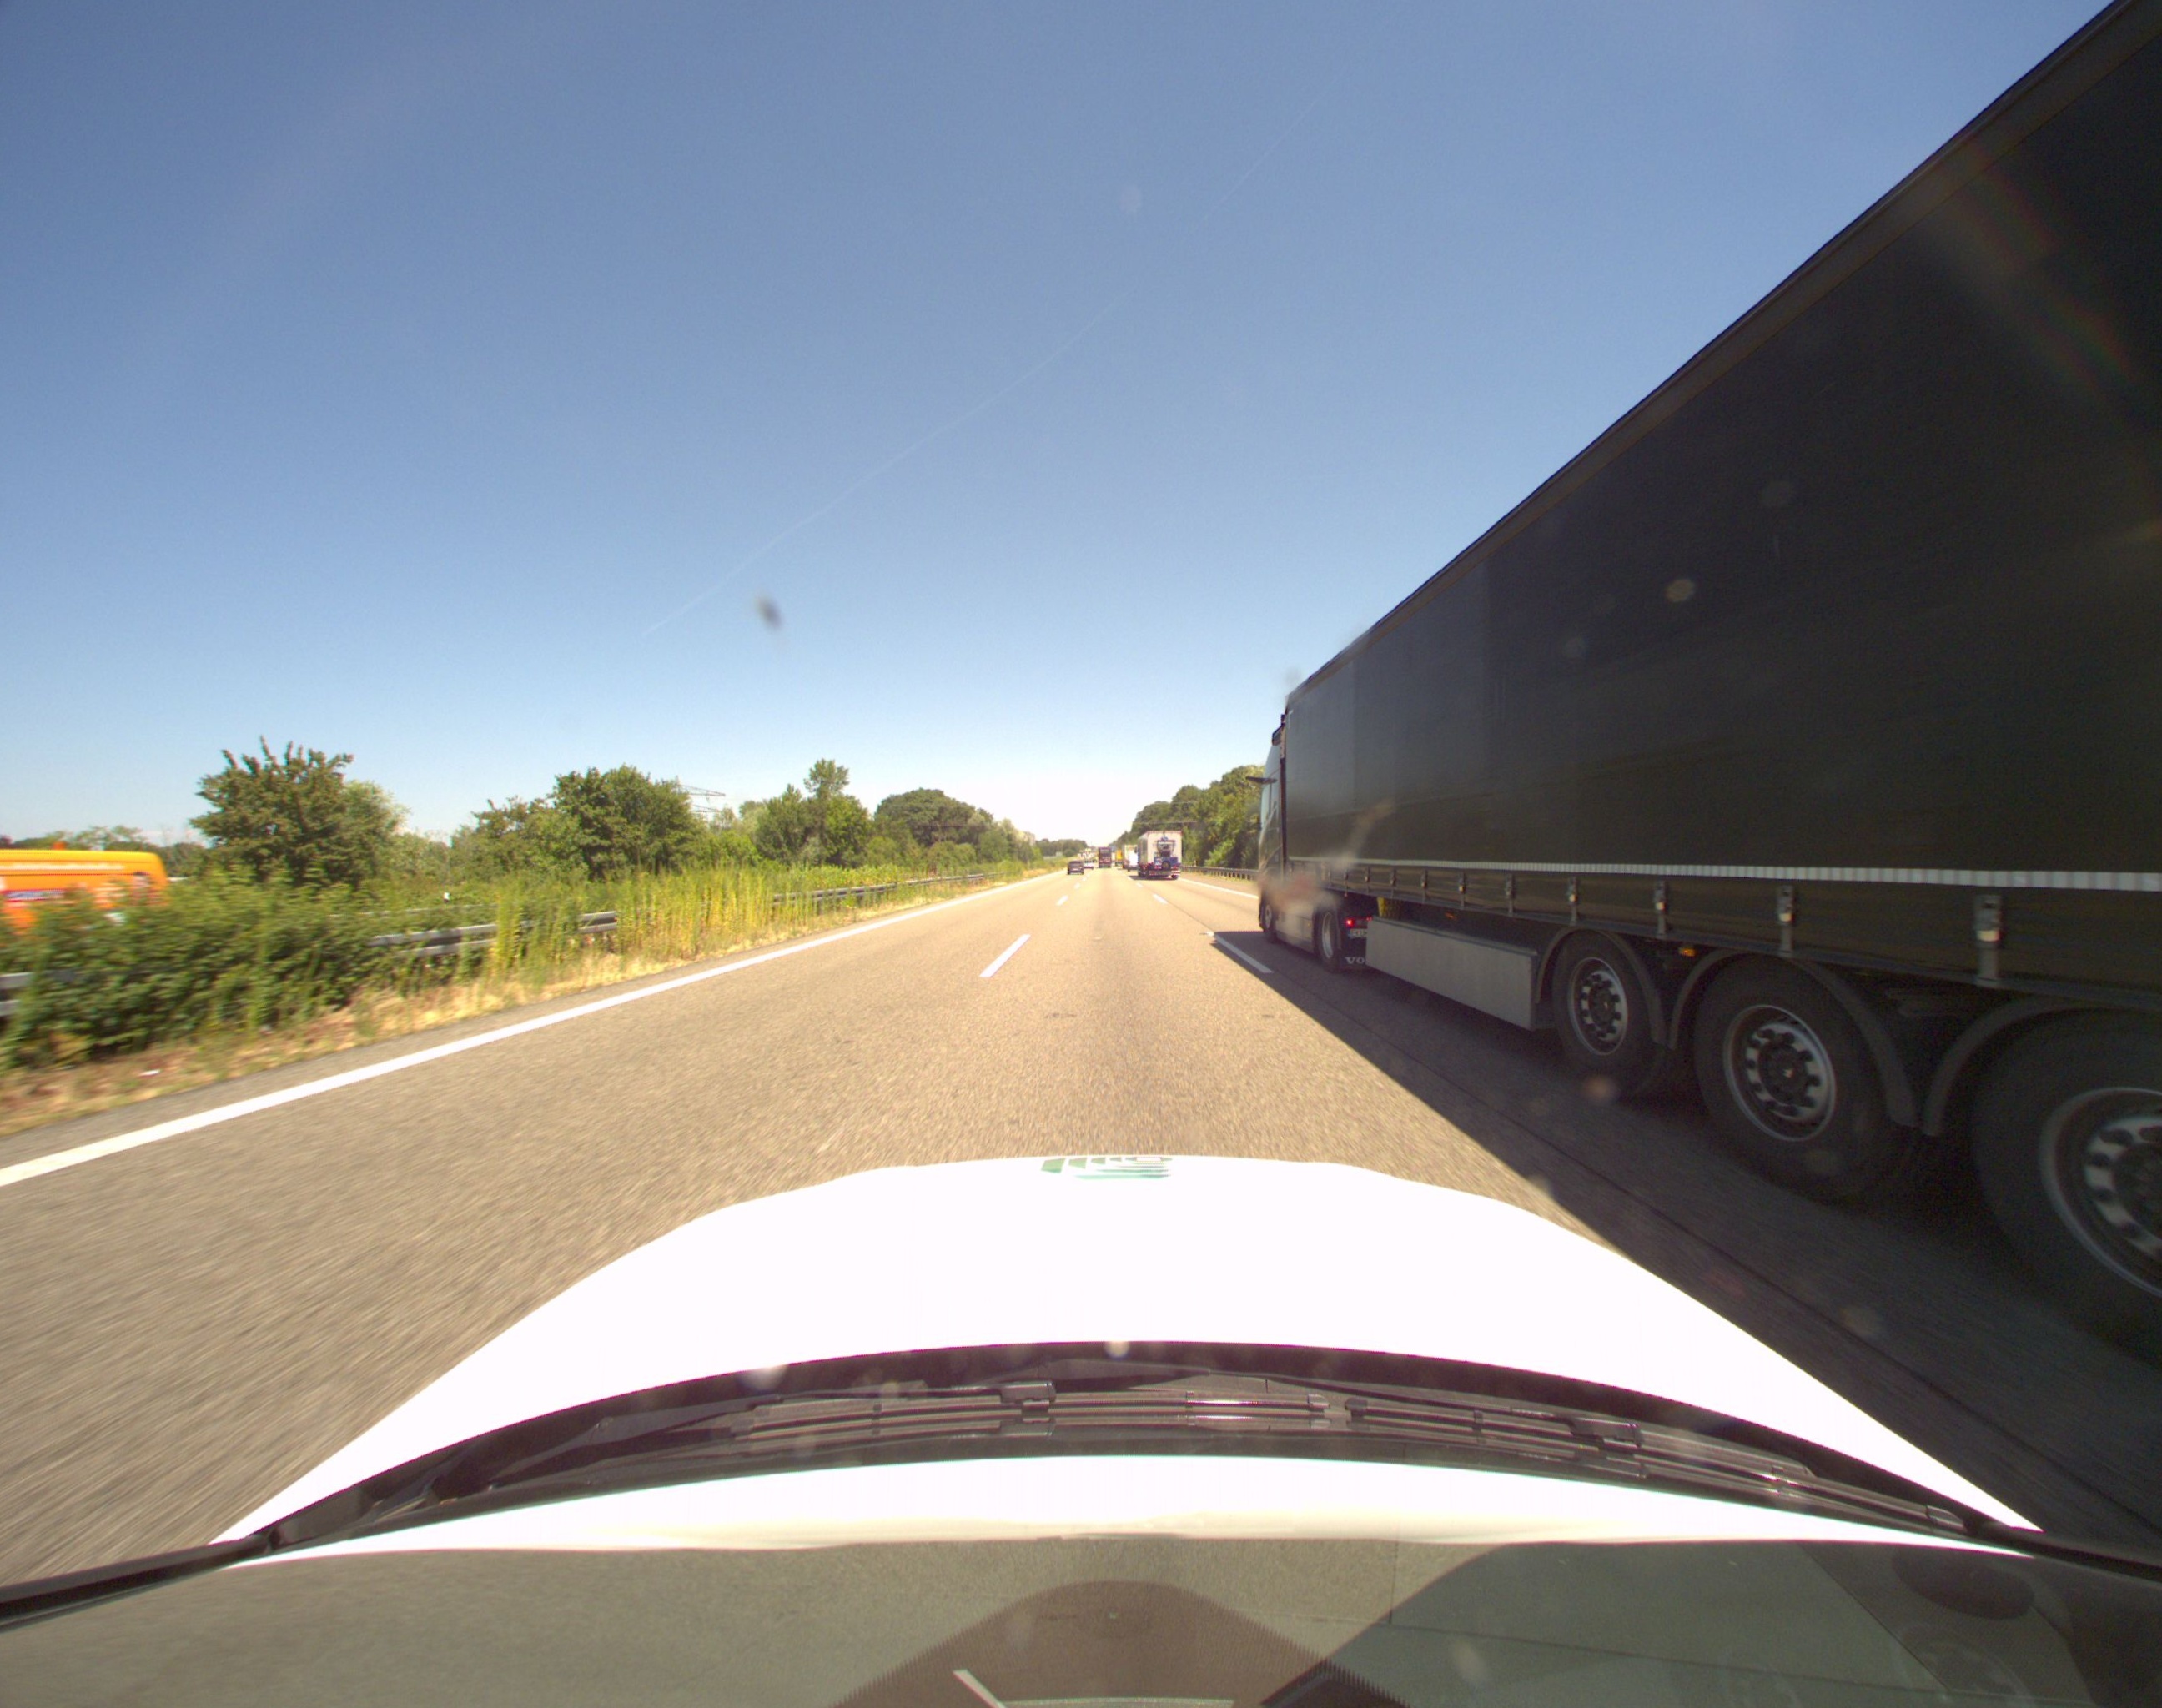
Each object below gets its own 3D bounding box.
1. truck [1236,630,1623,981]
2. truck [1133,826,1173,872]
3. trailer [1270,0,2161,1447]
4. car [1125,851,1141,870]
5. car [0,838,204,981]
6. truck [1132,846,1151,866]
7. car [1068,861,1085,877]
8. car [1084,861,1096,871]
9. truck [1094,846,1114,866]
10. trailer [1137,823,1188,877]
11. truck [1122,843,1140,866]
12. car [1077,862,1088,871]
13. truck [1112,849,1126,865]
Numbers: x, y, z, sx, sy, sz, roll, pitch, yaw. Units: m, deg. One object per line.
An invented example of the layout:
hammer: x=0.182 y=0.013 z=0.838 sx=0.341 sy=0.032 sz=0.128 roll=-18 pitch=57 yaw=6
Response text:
truck: x=4.802 y=-0.536 z=13.142 sx=3.451 sy=4.177 sz=6.846 roll=0 pitch=-1 yaw=1
truck: x=6.395 y=-0.474 z=73.842 sx=3.046 sy=3.879 sz=10.037 roll=0 pitch=1 yaw=1
trailer: x=4.564 y=-0.598 z=6.374 sx=3.422 sy=4.181 sz=13.638 roll=0 pitch=0 yaw=2
car: x=6.652 y=0.822 z=104.626 sx=1.900 sy=2.425 sz=4.287 roll=0 pitch=1 yaw=2
car: x=-20.489 y=1.032 z=14.930 sx=2.096 sy=2.557 sz=6.183 roll=-2 pitch=1 yaw=-1
truck: x=11.741 y=0.349 z=158.511 sx=3.653 sy=3.725 sz=7.113 roll=0 pitch=1 yaw=3
car: x=-0.477 y=1.628 z=89.644 sx=1.753 sy=1.531 sz=4.287 roll=0 pitch=1 yaw=2
car: x=1.534 y=2.009 z=132.695 sx=1.893 sy=1.531 sz=4.085 roll=0 pitch=1 yaw=2
truck: x=4.565 y=0.375 z=158.540 sx=3.653 sy=3.725 sz=7.113 roll=0 pitch=1 yaw=3
trailer: x=6.207 y=-0.336 z=63.896 sx=3.112 sy=3.926 sz=9.937 roll=0 pitch=1 yaw=1
truck: x=8.056 y=0.027 z=131.490 sx=2.781 sy=3.725 sz=7.113 roll=0 pitch=1 yaw=3
car: x=0.288 y=2.401 z=154.833 sx=1.893 sy=1.531 sz=4.085 roll=0 pitch=1 yaw=2
truck: x=9.290 y=0.687 z=198.083 sx=3.475 sy=3.725 sz=7.113 roll=0 pitch=1 yaw=3
